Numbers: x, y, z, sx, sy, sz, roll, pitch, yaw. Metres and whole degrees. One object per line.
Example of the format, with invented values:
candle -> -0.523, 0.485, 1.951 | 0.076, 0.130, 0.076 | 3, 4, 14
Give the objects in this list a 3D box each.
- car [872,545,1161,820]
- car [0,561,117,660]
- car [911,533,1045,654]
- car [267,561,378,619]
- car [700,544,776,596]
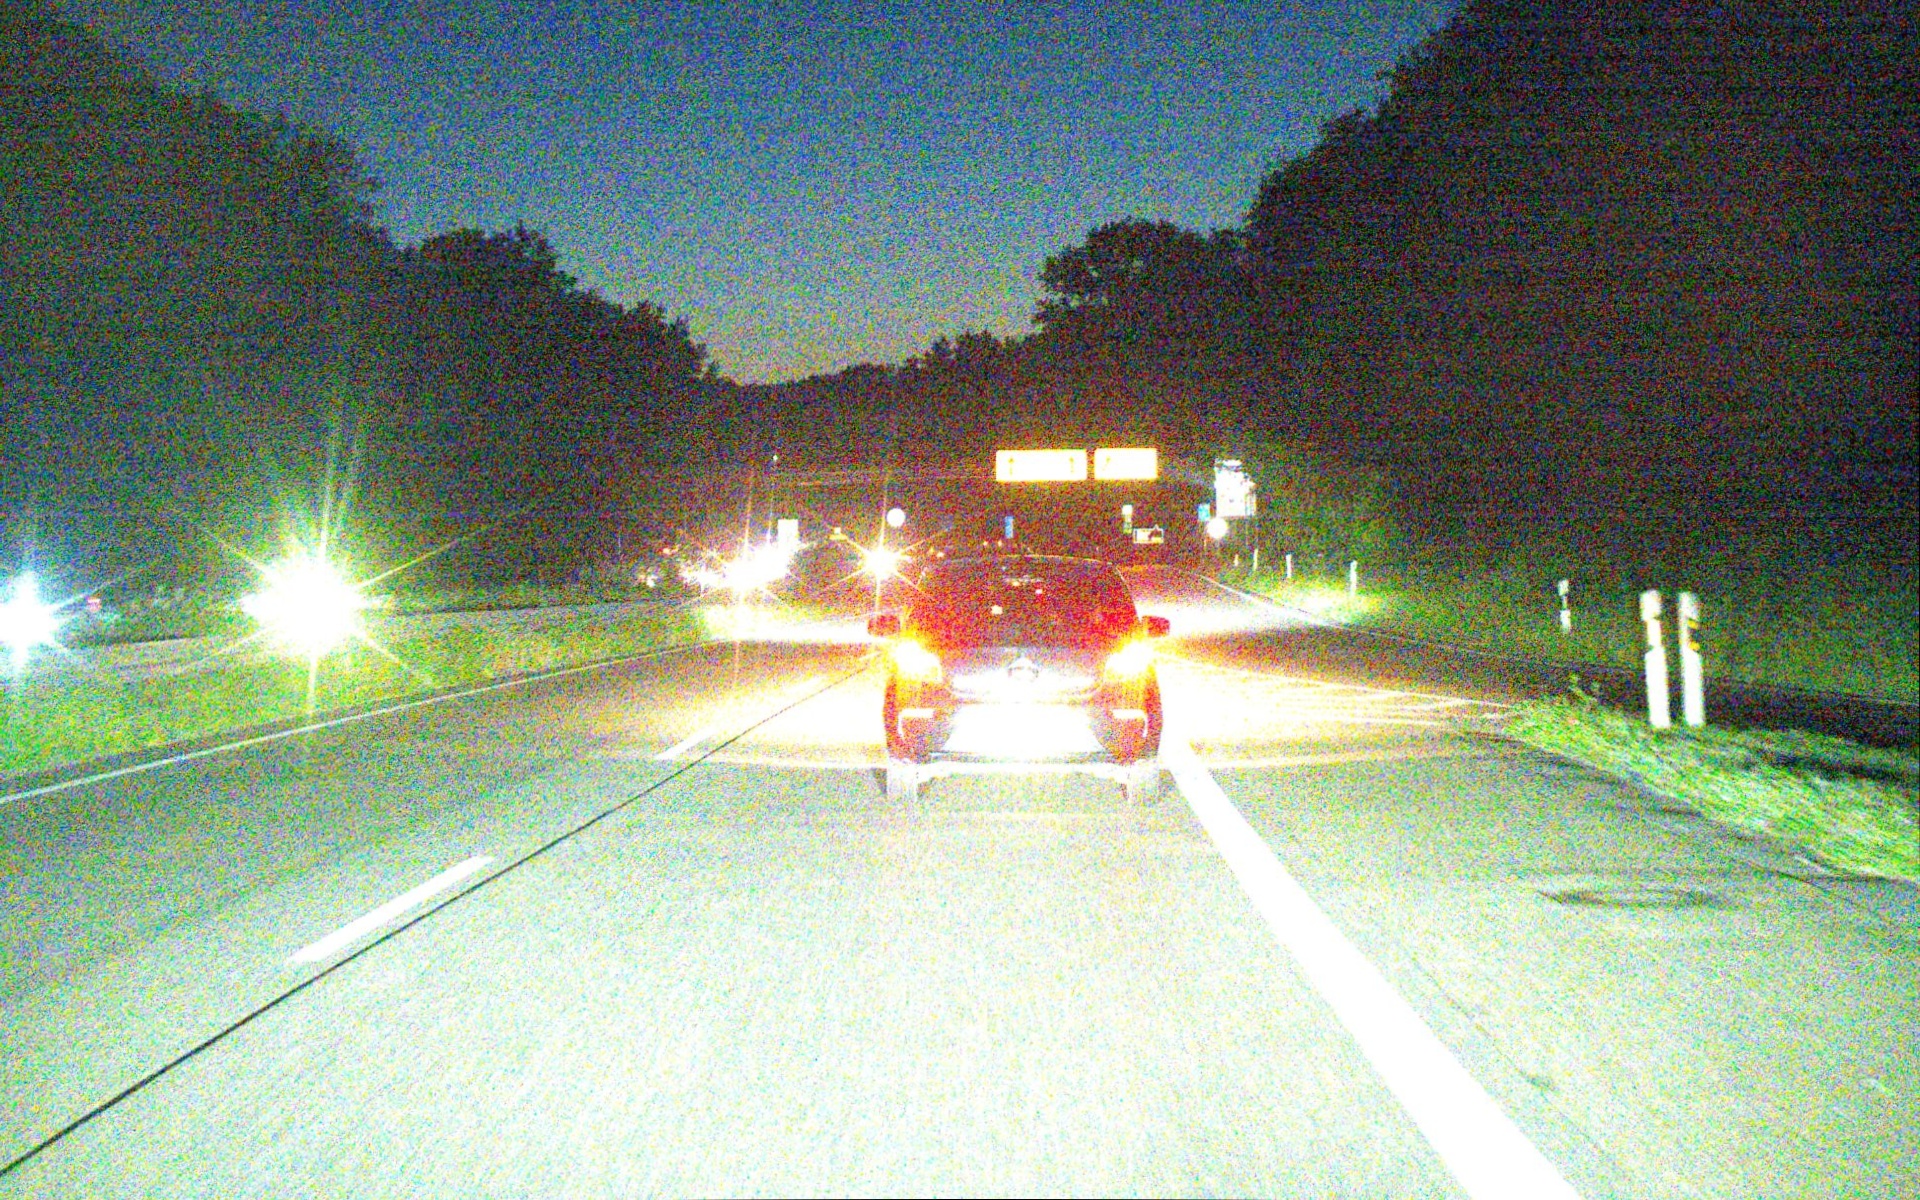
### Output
car -> 0.352, 0.430, 21.238 | 1.588, 1.503, 4.000 | 1, 1, 1
car -> -15.010, 0.161, 54.343 | 1.958, 1.452, 4.470 | -2, 1, 4
car -> 0.282, -0.131, 51.179 | 1.906, 1.692, 4.000 | 0, 1, 1
car -> -15.938, -0.258, 86.120 | 1.771, 1.406, 4.844 | 0, 1, 1
car -> -7.837, -1.077, 121.795 | 1.958, 1.727, 5.079 | -2, 1, 4
